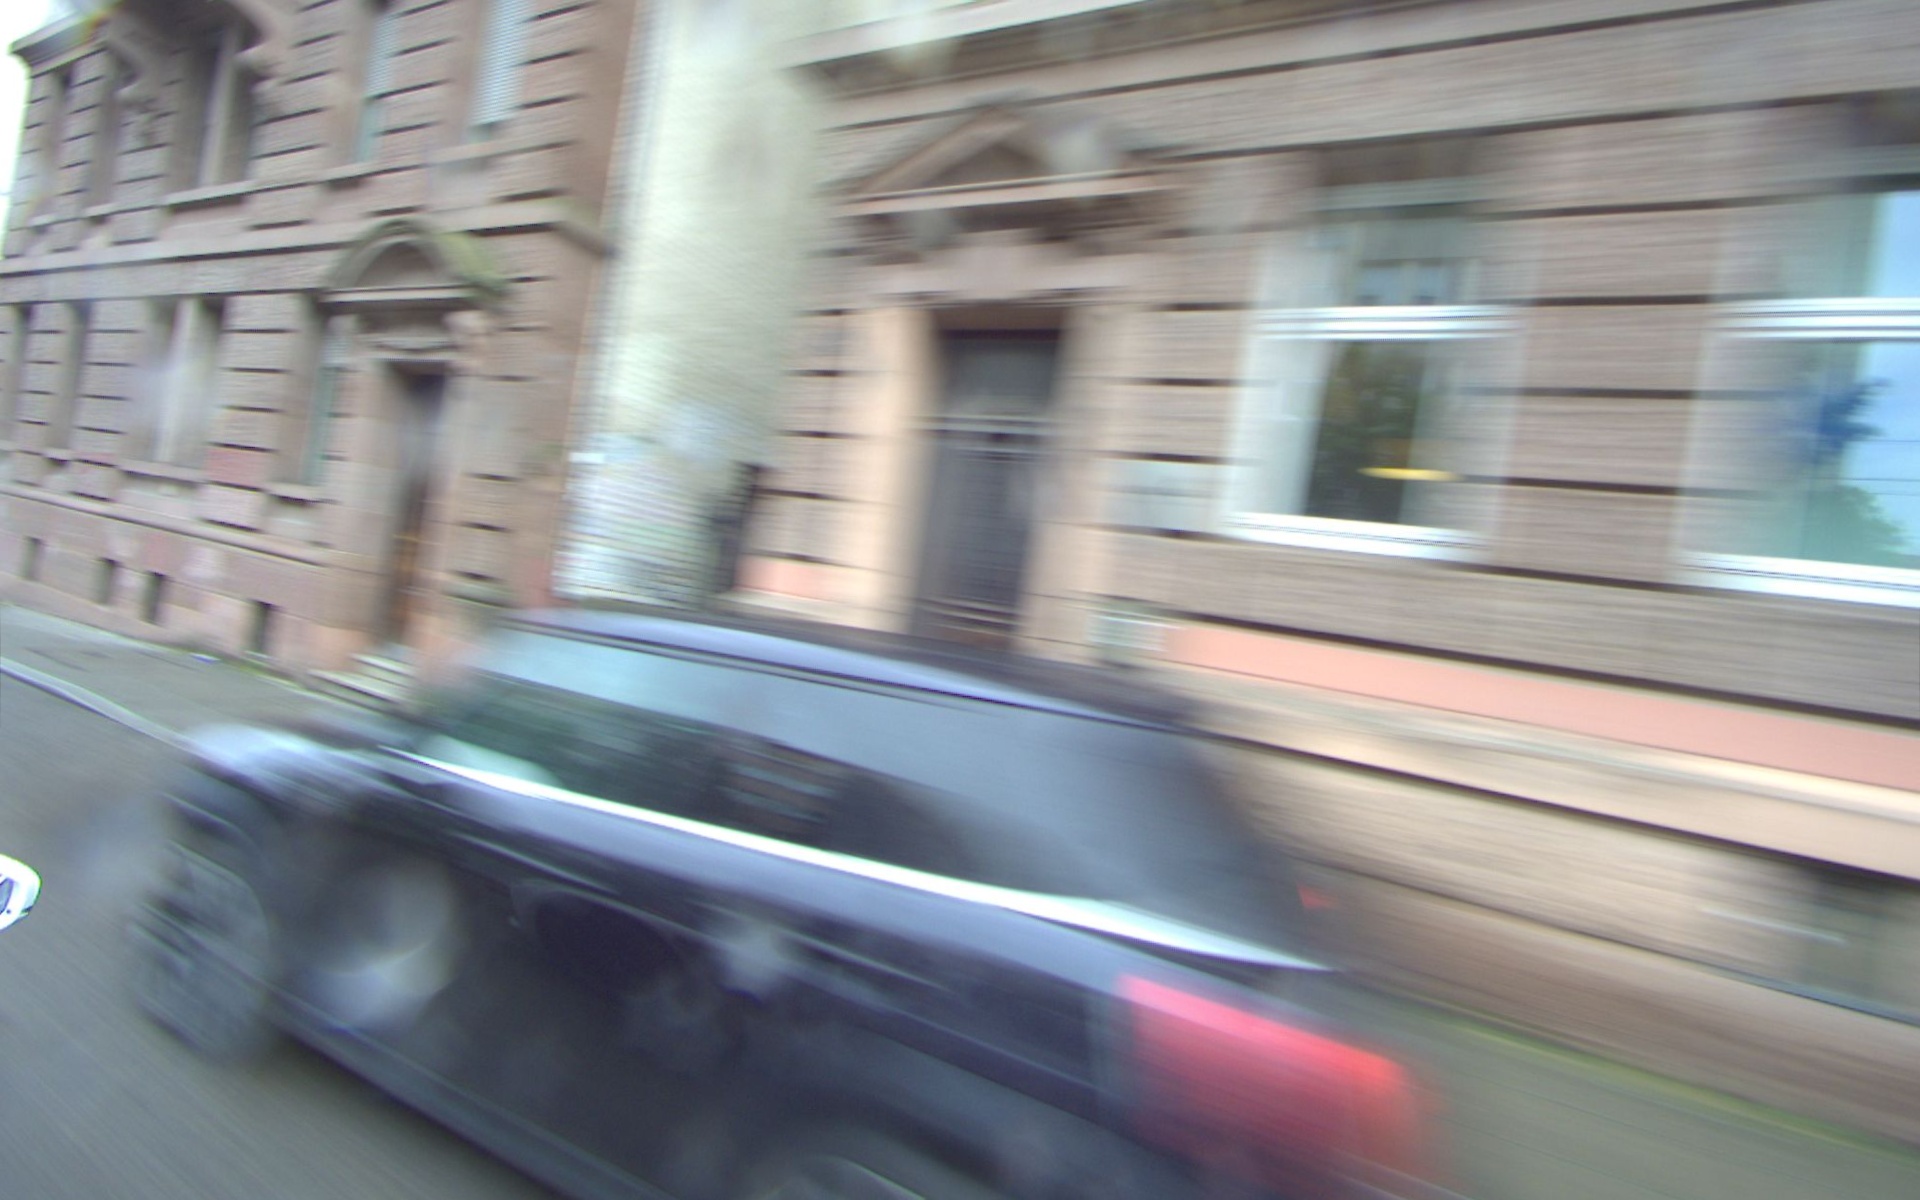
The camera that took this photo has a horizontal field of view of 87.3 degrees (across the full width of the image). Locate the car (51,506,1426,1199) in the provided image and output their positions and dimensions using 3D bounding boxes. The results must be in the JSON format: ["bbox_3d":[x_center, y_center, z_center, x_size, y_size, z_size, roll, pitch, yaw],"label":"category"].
[{"bbox_3d":[-0.823,0.694,2.976,3.756,1.476,1.581,7,-2,30],"label":"car"}]
